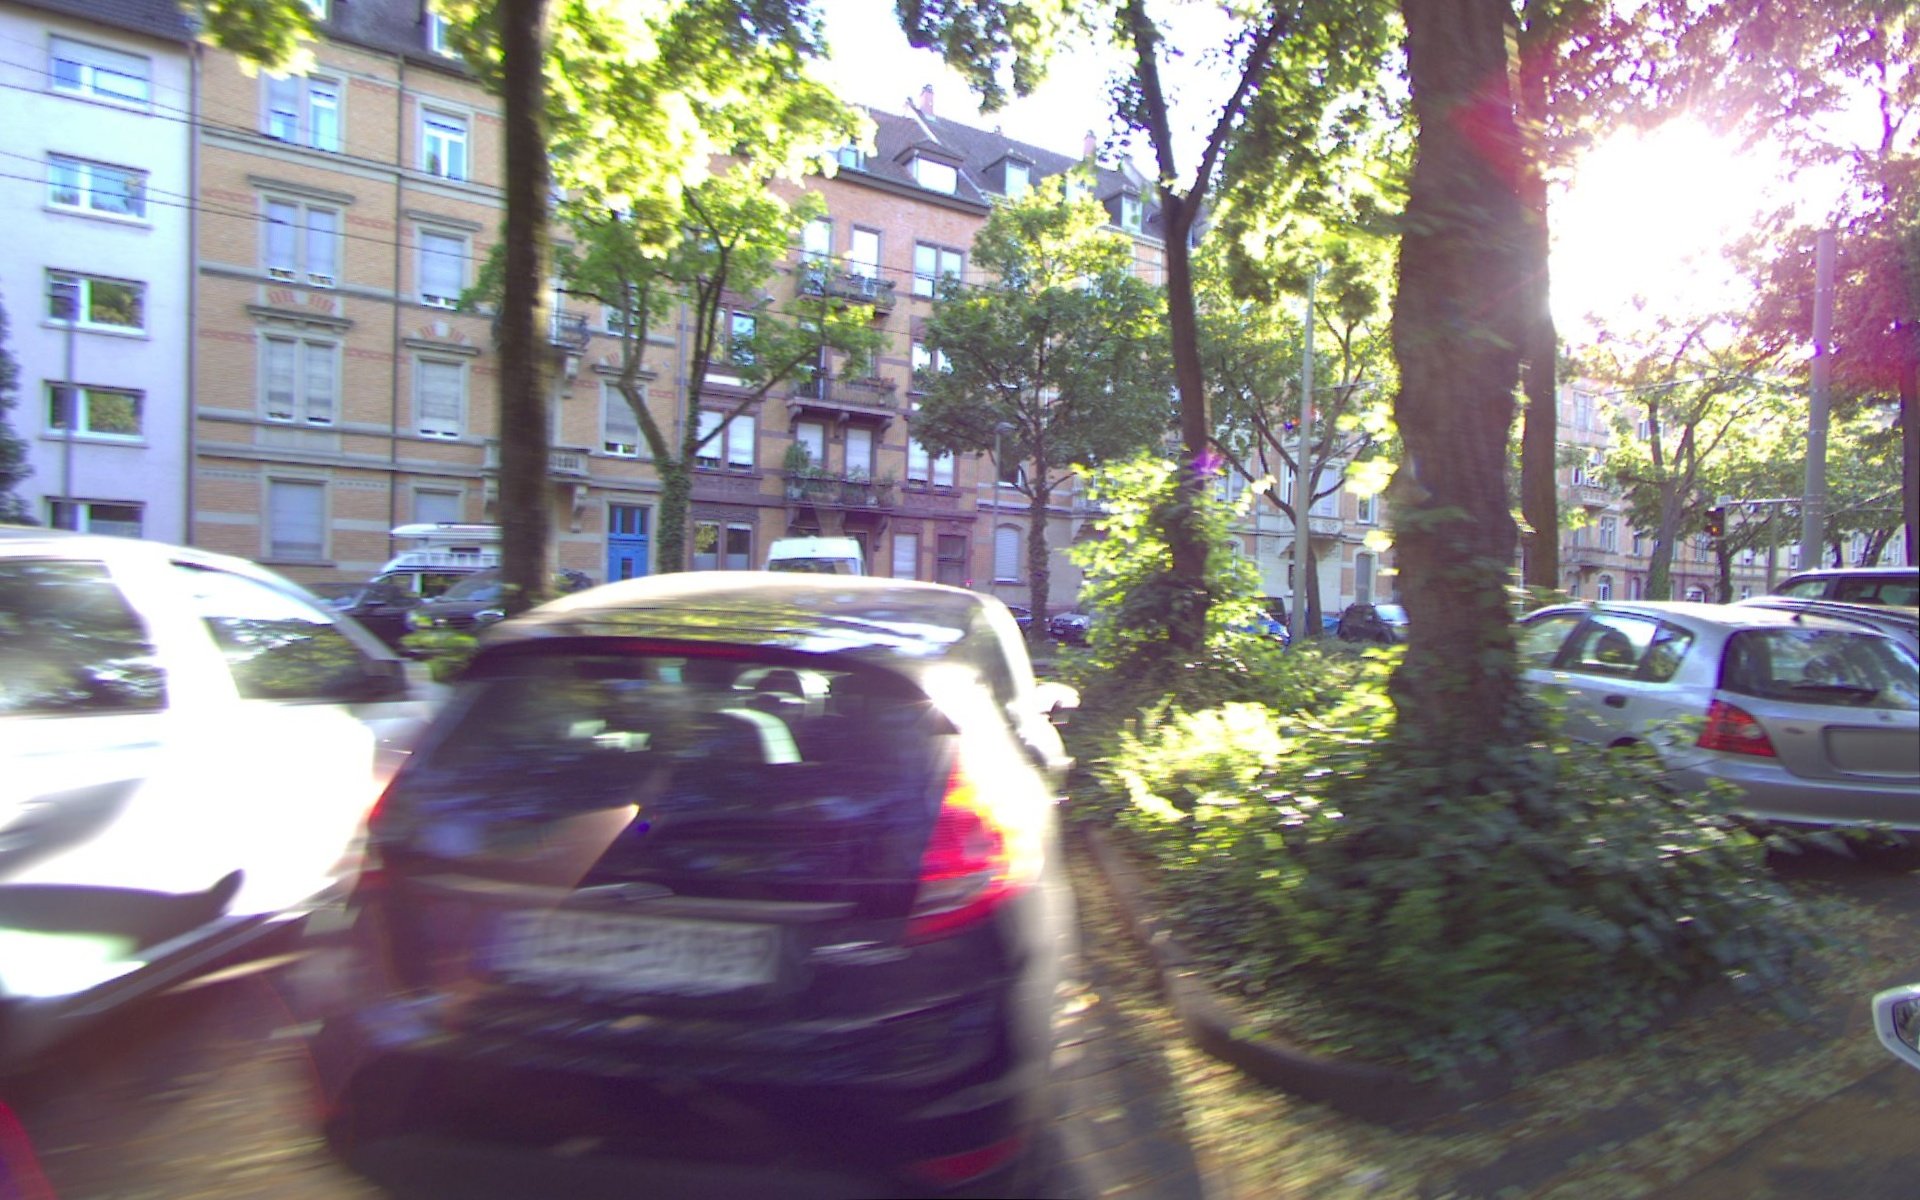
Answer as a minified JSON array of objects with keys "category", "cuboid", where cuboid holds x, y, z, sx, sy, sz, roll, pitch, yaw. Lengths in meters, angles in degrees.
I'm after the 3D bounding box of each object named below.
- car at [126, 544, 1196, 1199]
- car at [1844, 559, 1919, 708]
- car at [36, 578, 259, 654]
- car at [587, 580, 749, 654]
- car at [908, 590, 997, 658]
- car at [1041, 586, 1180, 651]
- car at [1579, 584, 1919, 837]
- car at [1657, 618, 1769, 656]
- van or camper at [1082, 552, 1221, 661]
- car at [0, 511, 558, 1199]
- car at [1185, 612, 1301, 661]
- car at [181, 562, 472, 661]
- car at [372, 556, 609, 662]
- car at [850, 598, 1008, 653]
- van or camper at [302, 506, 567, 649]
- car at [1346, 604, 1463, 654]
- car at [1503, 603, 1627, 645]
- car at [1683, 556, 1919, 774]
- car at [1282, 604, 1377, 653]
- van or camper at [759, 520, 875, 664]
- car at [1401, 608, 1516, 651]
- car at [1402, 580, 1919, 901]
[{"category":"car","cuboid":[-0.386,0.605,3.578,1.789,1.458,3.825,3,3,5]},{"category":"car","cuboid":[15.108,0.622,13.189,2.040,2.166,5.514,3,3,1]},{"category":"car","cuboid":[-17.311,0.314,21.637,3.468,1.423,1.841,1,3,-31]},{"category":"car","cuboid":[-7.904,0.431,27.236,3.871,1.807,1.841,1,3,-31]},{"category":"car","cuboid":[-0.073,0.520,22.905,1.696,1.380,4.326,1,-1,4]},{"category":"car","cuboid":[5.245,0.623,34.850,4.607,2.032,1.841,1,3,-31]},{"category":"car","cuboid":[7.458,0.758,8.410,1.896,1.561,4.572,3,3,4]},{"category":"car","cuboid":[30.794,1.489,41.212,1.675,1.399,3.737,1,0,-3]},{"category":"van or camper","cuboid":[4.609,0.176,25.132,2.262,2.402,5.551,1,-1,-1]},{"category":"car","cuboid":[-2.917,0.495,3.200,1.790,1.514,3.550,3,3,0]},{"category":"car","cuboid":[7.350,0.901,26.531,1.791,1.112,4.167,1,0,-1]},{"category":"car","cuboid":[-10.209,0.272,16.666,1.868,1.403,4.327,1,-3,3]},{"category":"car","cuboid":[-7.980,0.166,17.600,1.868,1.603,4.326,1,-1,4]},{"category":"car","cuboid":[-0.930,0.756,31.254,4.607,1.493,1.841,1,3,-31]},{"category":"van or camper","cuboid":[-12.623,-0.453,24.392,5.451,3.151,2.063,2,1,-31]},{"category":"car","cuboid":[13.187,0.822,30.073,1.604,1.327,4.189,2,0,0]},{"category":"car","cuboid":[21.208,0.820,35.403,1.565,1.335,3.994,2,0,-8]},{"category":"car","cuboid":[9.738,0.605,9.934,1.896,1.969,4.714,3,3,4]},{"category":"car","cuboid":[15.082,1.144,40.983,3.468,1.807,1.841,1,3,-31]},{"category":"van or camper","cuboid":[-2.759,-0.106,20.604,1.962,2.501,5.674,1,-1,-5]},{"category":"car","cuboid":[15.592,0.881,31.657,1.470,1.183,4.204,2,0,-1]},{"category":"car","cuboid":[4.935,0.710,7.223,1.748,1.508,4.094,3,3,2]}]
